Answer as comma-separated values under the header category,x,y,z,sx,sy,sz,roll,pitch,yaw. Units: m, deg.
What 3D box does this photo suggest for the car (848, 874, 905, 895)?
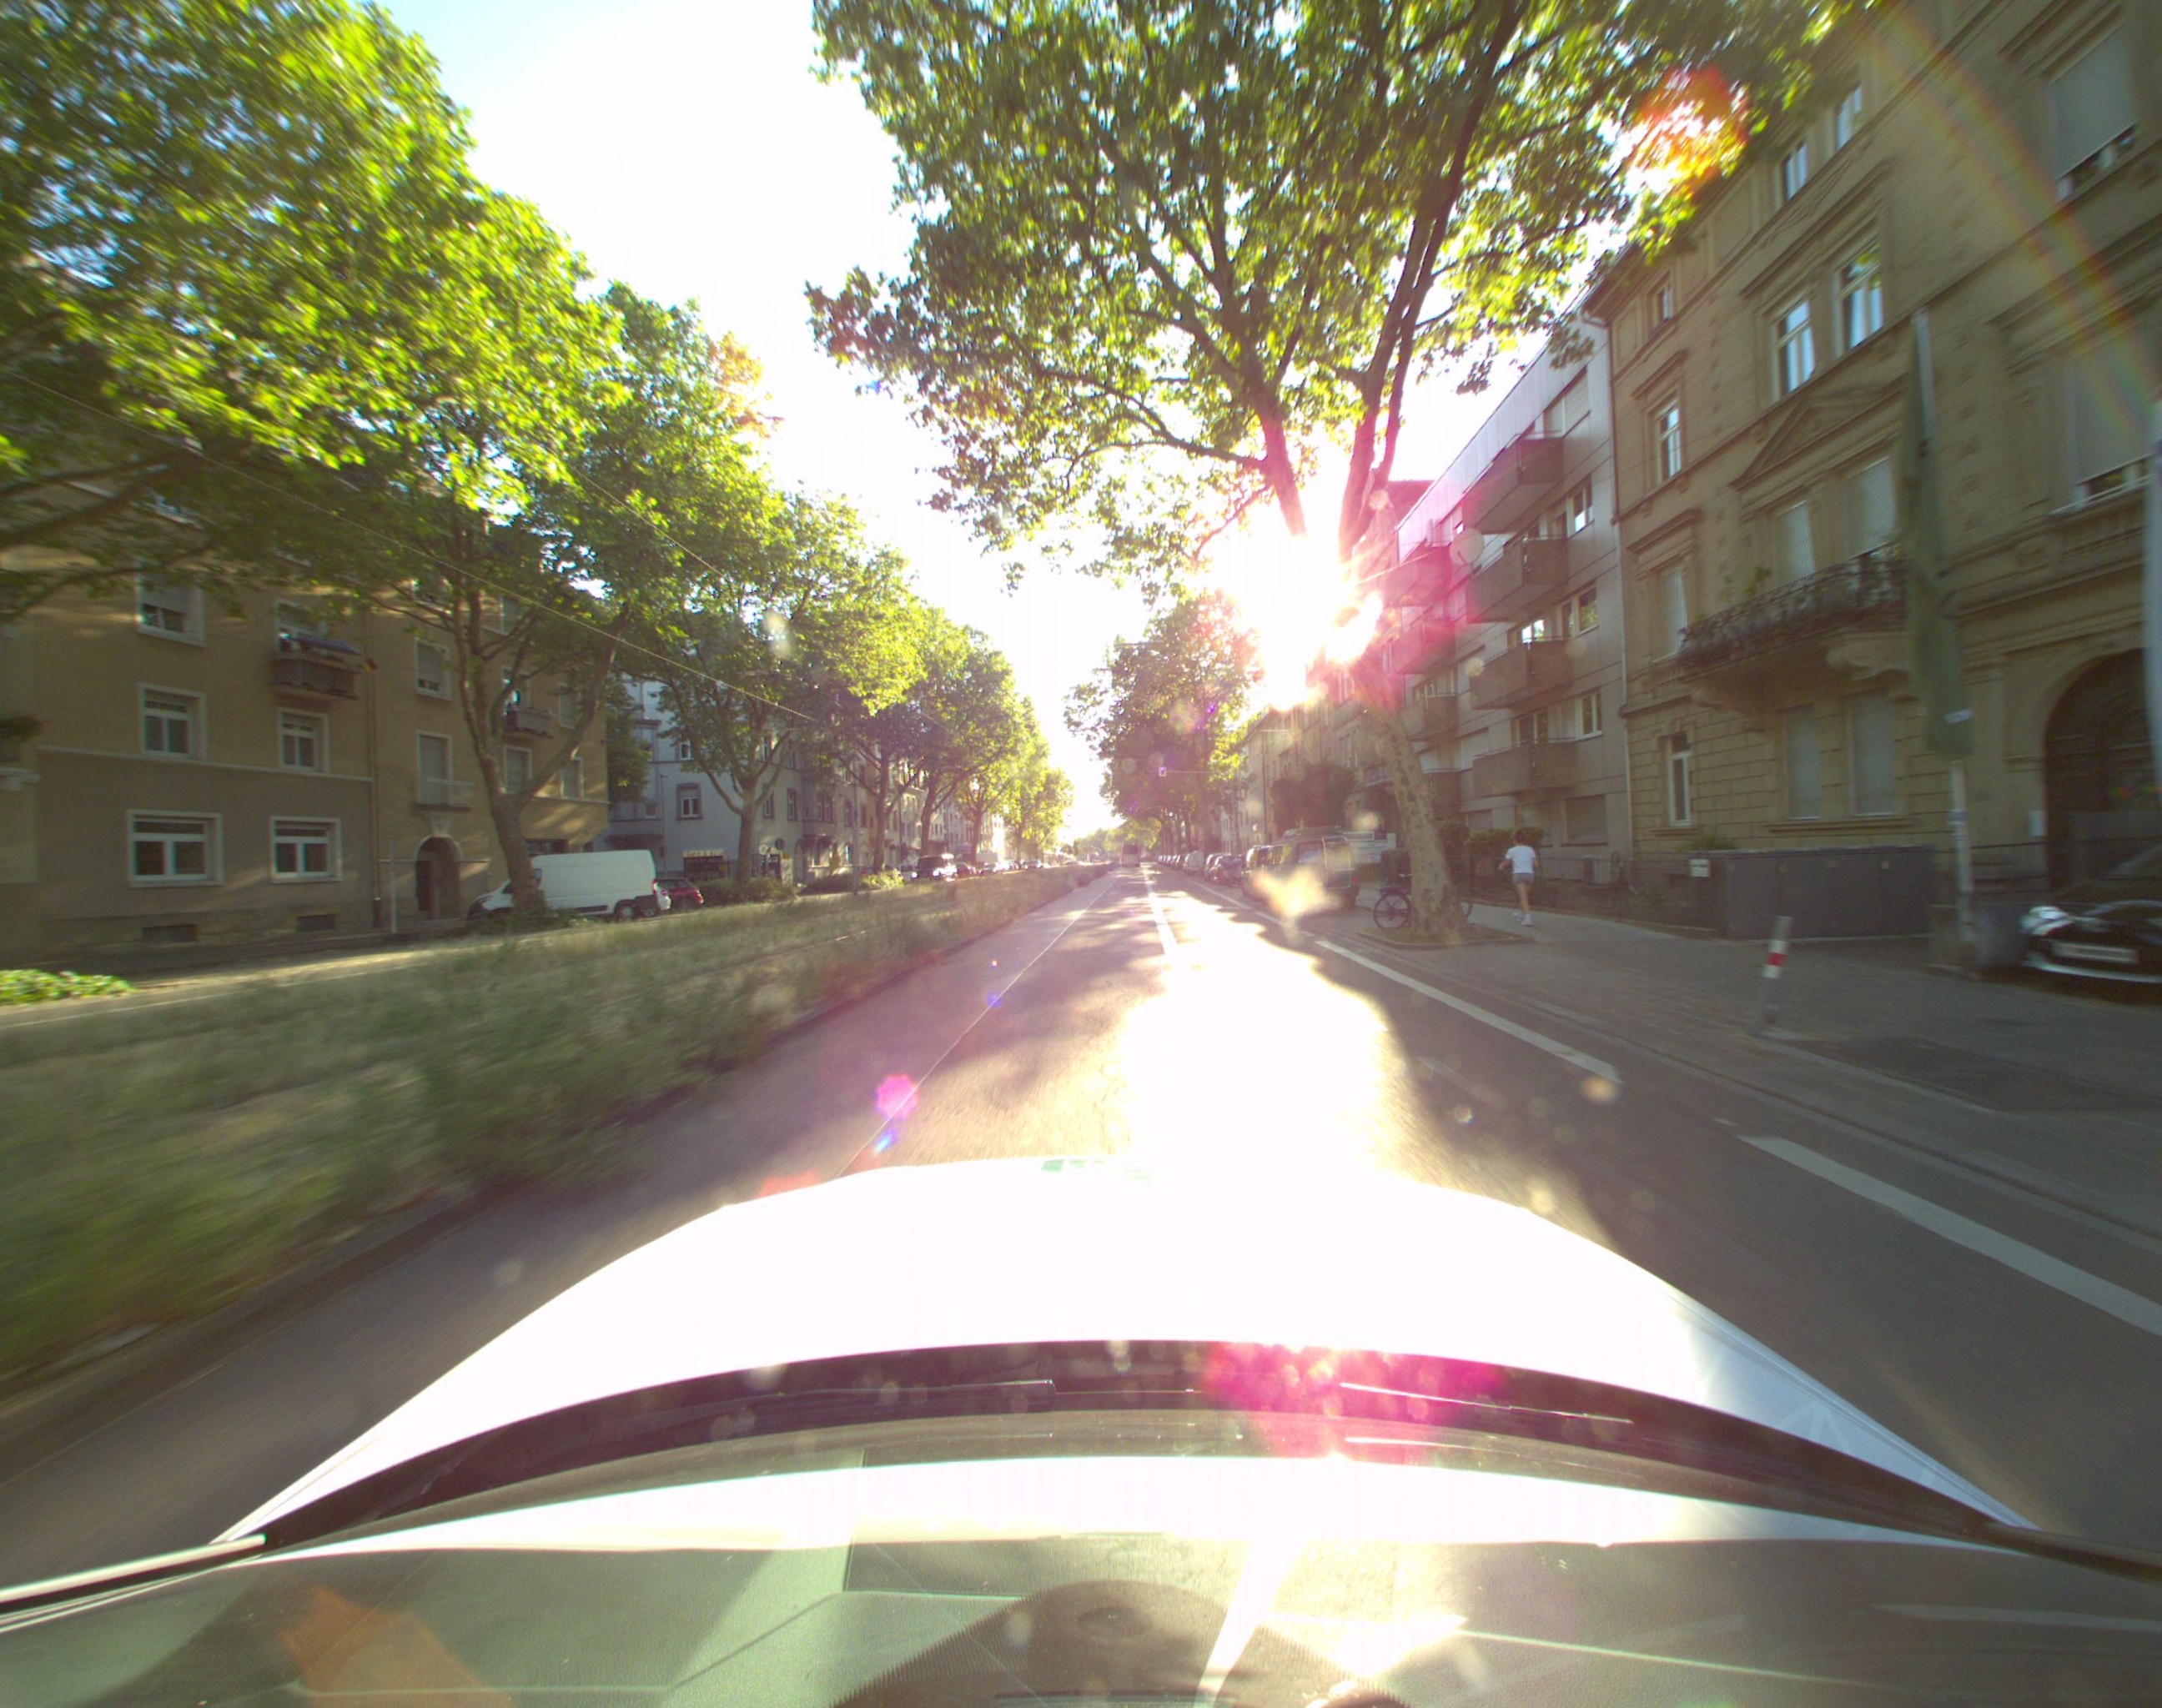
category,x,y,z,sx,sy,sz,roll,pitch,yaw
car,-15.853,2.339,63.147,4.017,1.448,1.568,-1,-1,-36

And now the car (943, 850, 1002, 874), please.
category,x,y,z,sx,sy,sz,roll,pitch,yaw
car,-13.342,0.986,100.125,6.955,2.678,2.172,-2,-1,-18

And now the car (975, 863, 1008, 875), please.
category,x,y,z,sx,sy,sz,roll,pitch,yaw
car,-12.040,1.999,109.588,4.287,1.458,1.857,-2,-1,-2

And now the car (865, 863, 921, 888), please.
category,x,y,z,sx,sy,sz,roll,pitch,yaw
car,-15.387,1.777,66.689,4.016,1.882,1.978,-1,-1,-34

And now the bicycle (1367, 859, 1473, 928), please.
category,x,y,z,sx,sy,sz,roll,pitch,yaw
bicycle,6.041,0.695,14.510,1.847,1.143,0.347,-2,-1,-13

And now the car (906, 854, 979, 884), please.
category,x,y,z,sx,sy,sz,roll,pitch,yaw
car,-8.220,0.877,48.859,1.852,1.694,4.803,-3,-1,24

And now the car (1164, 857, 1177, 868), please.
category,x,y,z,sx,sy,sz,roll,pitch,yaw
car,13.539,1.311,123.377,1.773,1.516,4.004,-3,0,4

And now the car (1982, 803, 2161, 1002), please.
category,x,y,z,sx,sy,sz,roll,pitch,yaw
car,10.111,0.322,6.839,3.406,1.546,1.442,-2,-1,0

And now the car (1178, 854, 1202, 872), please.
category,x,y,z,sx,sy,sz,roll,pitch,yaw
car,9.367,0.767,70.229,1.638,1.486,4.003,-3,0,3

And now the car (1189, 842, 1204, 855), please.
category,x,y,z,sx,sy,sz,roll,pitch,yaw
car,18.489,-0.840,130.557,1.875,1.860,4.330,-2,-1,4

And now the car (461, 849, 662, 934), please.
category,x,y,z,sx,sy,sz,roll,pitch,yaw
car,-17.574,1.175,27.709,5.536,2.529,2.101,-2,-1,-39

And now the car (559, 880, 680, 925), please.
category,x,y,z,sx,sy,sz,roll,pitch,yaw
car,-17.280,1.769,30.559,3.728,1.399,1.716,-2,0,-39

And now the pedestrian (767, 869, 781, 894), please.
category,x,y,z,sx,sy,sz,roll,pitch,yaw
pedestrian,-21.511,1.924,57.036,0.623,1.759,0.674,-3,-1,8

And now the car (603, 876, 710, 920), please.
category,x,y,z,sx,sy,sz,roll,pitch,yaw
car,-17.364,1.768,33.398,3.720,1.466,1.720,-3,0,-29

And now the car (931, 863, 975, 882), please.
category,x,y,z,sx,sy,sz,roll,pitch,yaw
car,-13.220,1.890,84.317,4.011,1.699,1.839,-4,0,-28

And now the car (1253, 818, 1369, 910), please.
category,x,y,z,sx,sy,sz,roll,pitch,yaw
car,6.369,0.301,23.239,1.985,2.257,5.238,-2,-1,3

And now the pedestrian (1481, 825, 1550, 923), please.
category,x,y,z,sx,sy,sz,roll,pitch,yaw
pedestrian,7.555,0.350,14.200,0.660,1.629,0.923,-2,-1,3

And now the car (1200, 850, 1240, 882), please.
category,x,y,z,sx,sy,sz,roll,pitch,yaw
car,7.929,0.669,46.663,1.737,1.690,3.854,-2,-1,2

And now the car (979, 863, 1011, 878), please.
category,x,y,z,sx,sy,sz,roll,pitch,yaw
car,-8.890,1.718,84.521,1.734,1.460,4.941,-2,-1,12

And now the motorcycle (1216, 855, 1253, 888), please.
category,x,y,z,sx,sy,sz,roll,pitch,yaw
motorcycle,6.950,0.774,36.942,0.823,1.398,2.372,-4,0,-9

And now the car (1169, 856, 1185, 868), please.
category,x,y,z,sx,sy,sz,roll,pitch,yaw
car,12.483,1.009,105.626,1.773,1.516,4.004,-3,0,4

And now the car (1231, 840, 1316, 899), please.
category,x,y,z,sx,sy,sz,roll,pitch,yaw
car,6.639,0.539,28.612,1.985,1.830,4.760,-2,-1,2

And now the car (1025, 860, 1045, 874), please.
category,x,y,z,sx,sy,sz,roll,pitch,yaw
car,-5.331,1.482,95.189,1.782,1.574,4.004,-2,-1,4

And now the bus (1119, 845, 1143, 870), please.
category,x,y,z,sx,sy,sz,roll,pitch,yaw
bus,6.886,0.530,113.438,2.823,3.236,8.183,-2,-1,1

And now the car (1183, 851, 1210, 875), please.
category,x,y,z,sx,sy,sz,roll,pitch,yaw
car,8.991,0.701,63.587,1.736,1.770,4.399,-2,-1,4

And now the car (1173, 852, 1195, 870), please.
category,x,y,z,sx,sy,sz,roll,pitch,yaw
car,10.432,0.739,82.732,1.737,1.770,4.991,-2,-1,3

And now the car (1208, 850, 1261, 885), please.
category,x,y,z,sx,sy,sz,roll,pitch,yaw
car,7.575,0.685,40.438,1.985,1.560,3.982,-2,-1,2

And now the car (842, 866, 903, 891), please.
category,x,y,z,sx,sy,sz,roll,pitch,yaw
car,-15.498,1.829,60.603,4.017,1.723,1.765,-1,-1,-36

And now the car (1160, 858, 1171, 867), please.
category,x,y,z,sx,sy,sz,roll,pitch,yaw
car,15.067,1.508,145.733,1.773,1.516,4.004,-3,0,4
